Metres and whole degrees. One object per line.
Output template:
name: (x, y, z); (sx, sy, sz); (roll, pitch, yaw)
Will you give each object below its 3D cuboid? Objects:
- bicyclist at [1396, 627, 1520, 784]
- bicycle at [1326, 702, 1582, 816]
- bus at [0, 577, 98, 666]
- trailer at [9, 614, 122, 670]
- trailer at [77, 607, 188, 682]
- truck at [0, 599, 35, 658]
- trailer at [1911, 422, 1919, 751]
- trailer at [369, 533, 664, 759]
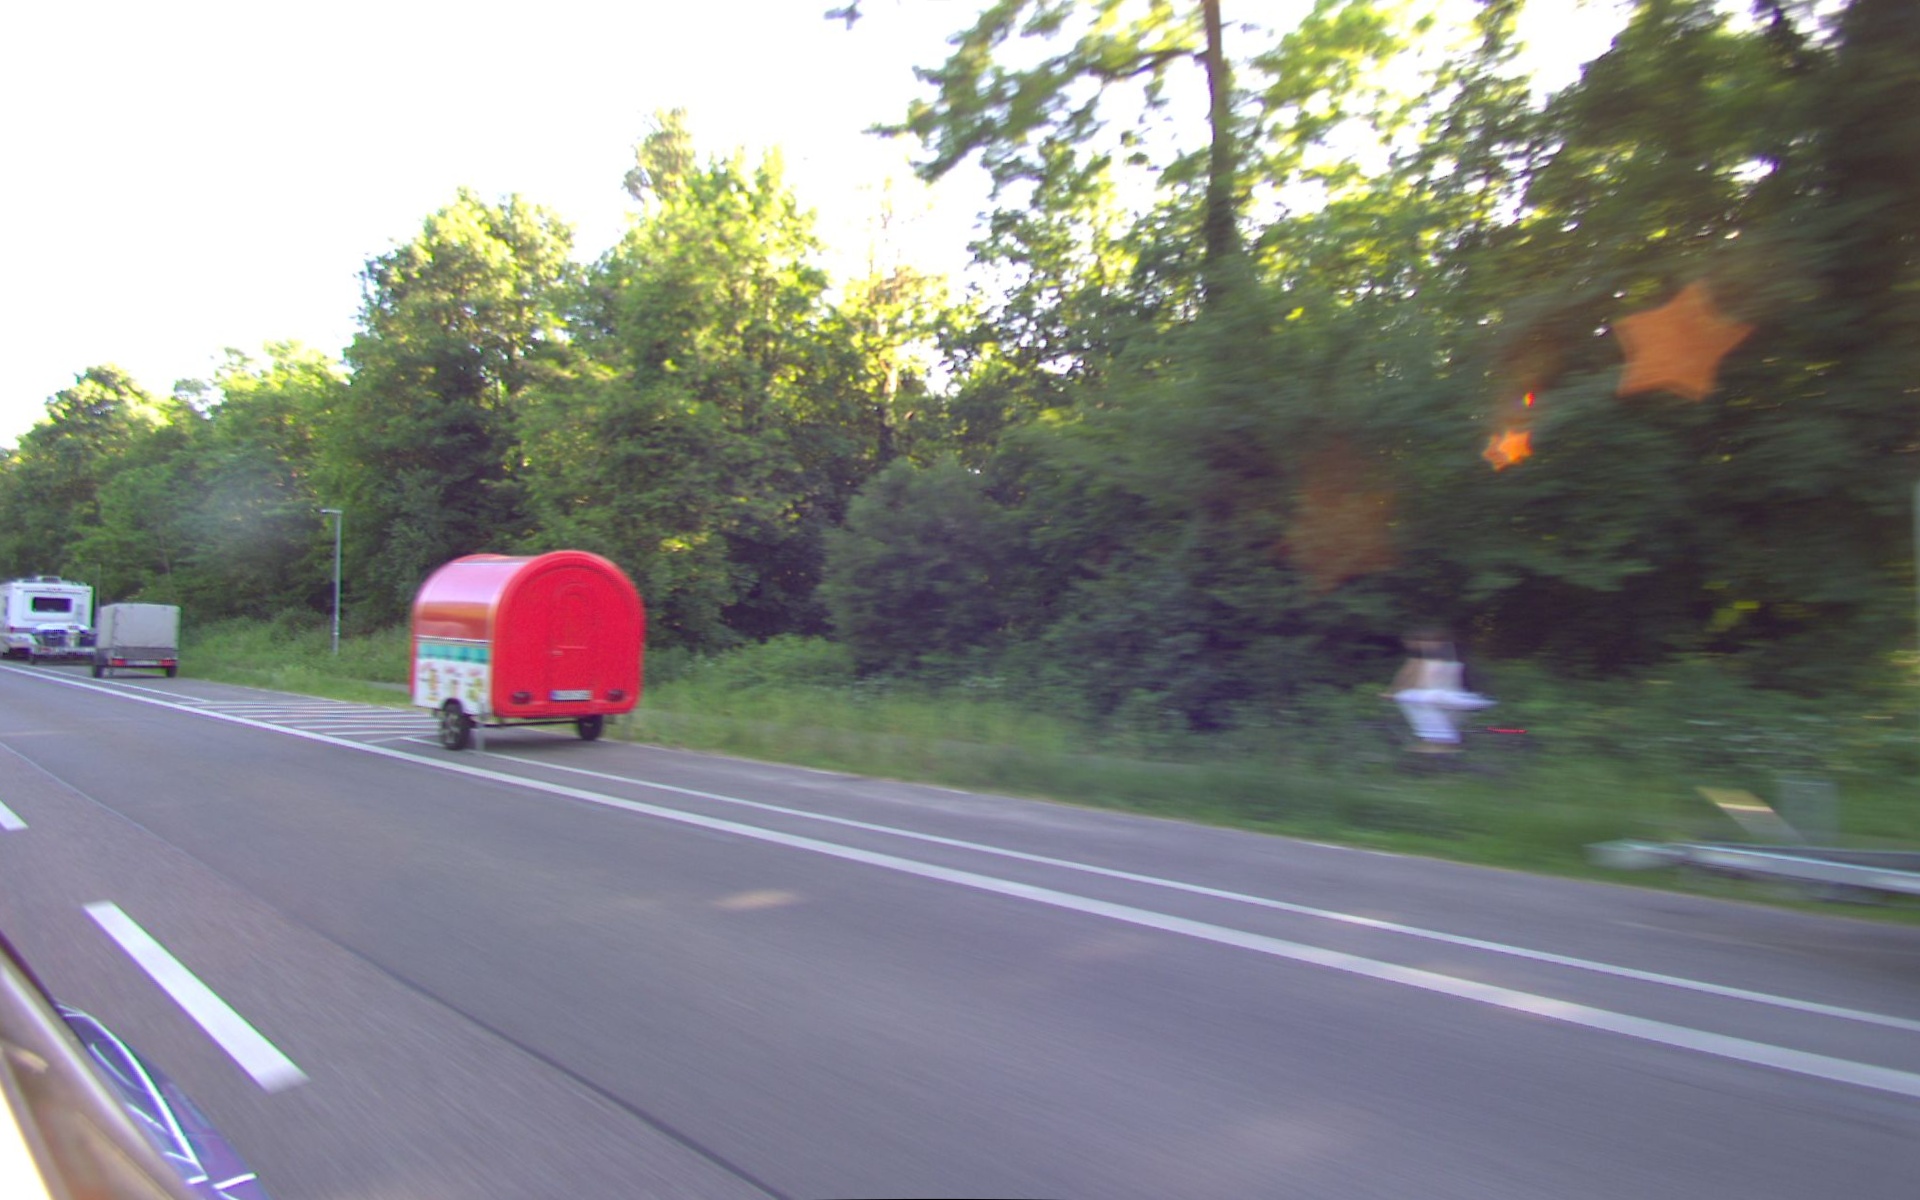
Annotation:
bicyclist: (4.720, 0.959, 9.599); (0.904, 1.374, 0.664); (-1, 0, 41)
bicycle: (4.651, 1.462, 9.645); (2.098, 0.807, 0.664); (-1, 0, 41)
bus: (-40.588, 0.892, 44.217); (11.193, 3.456, 2.799); (-1, 0, 41)
trailer: (-34.009, 1.530, 38.405); (6.260, 1.929, 2.403); (-2, -1, 41)
trailer: (-23.879, 1.284, 29.183); (3.559, 2.029, 1.833); (-1, -4, 41)
truck: (-49.261, 1.446, 51.383); (8.419, 2.845, 2.457); (-2, -1, 41)
trailer: (5.760, 0.315, 3.341); (3.555, 2.499, 2.047); (-1, -2, 37)
trailer: (-5.794, 0.556, 13.143); (3.555, 2.499, 2.047); (-1, -2, 37)
